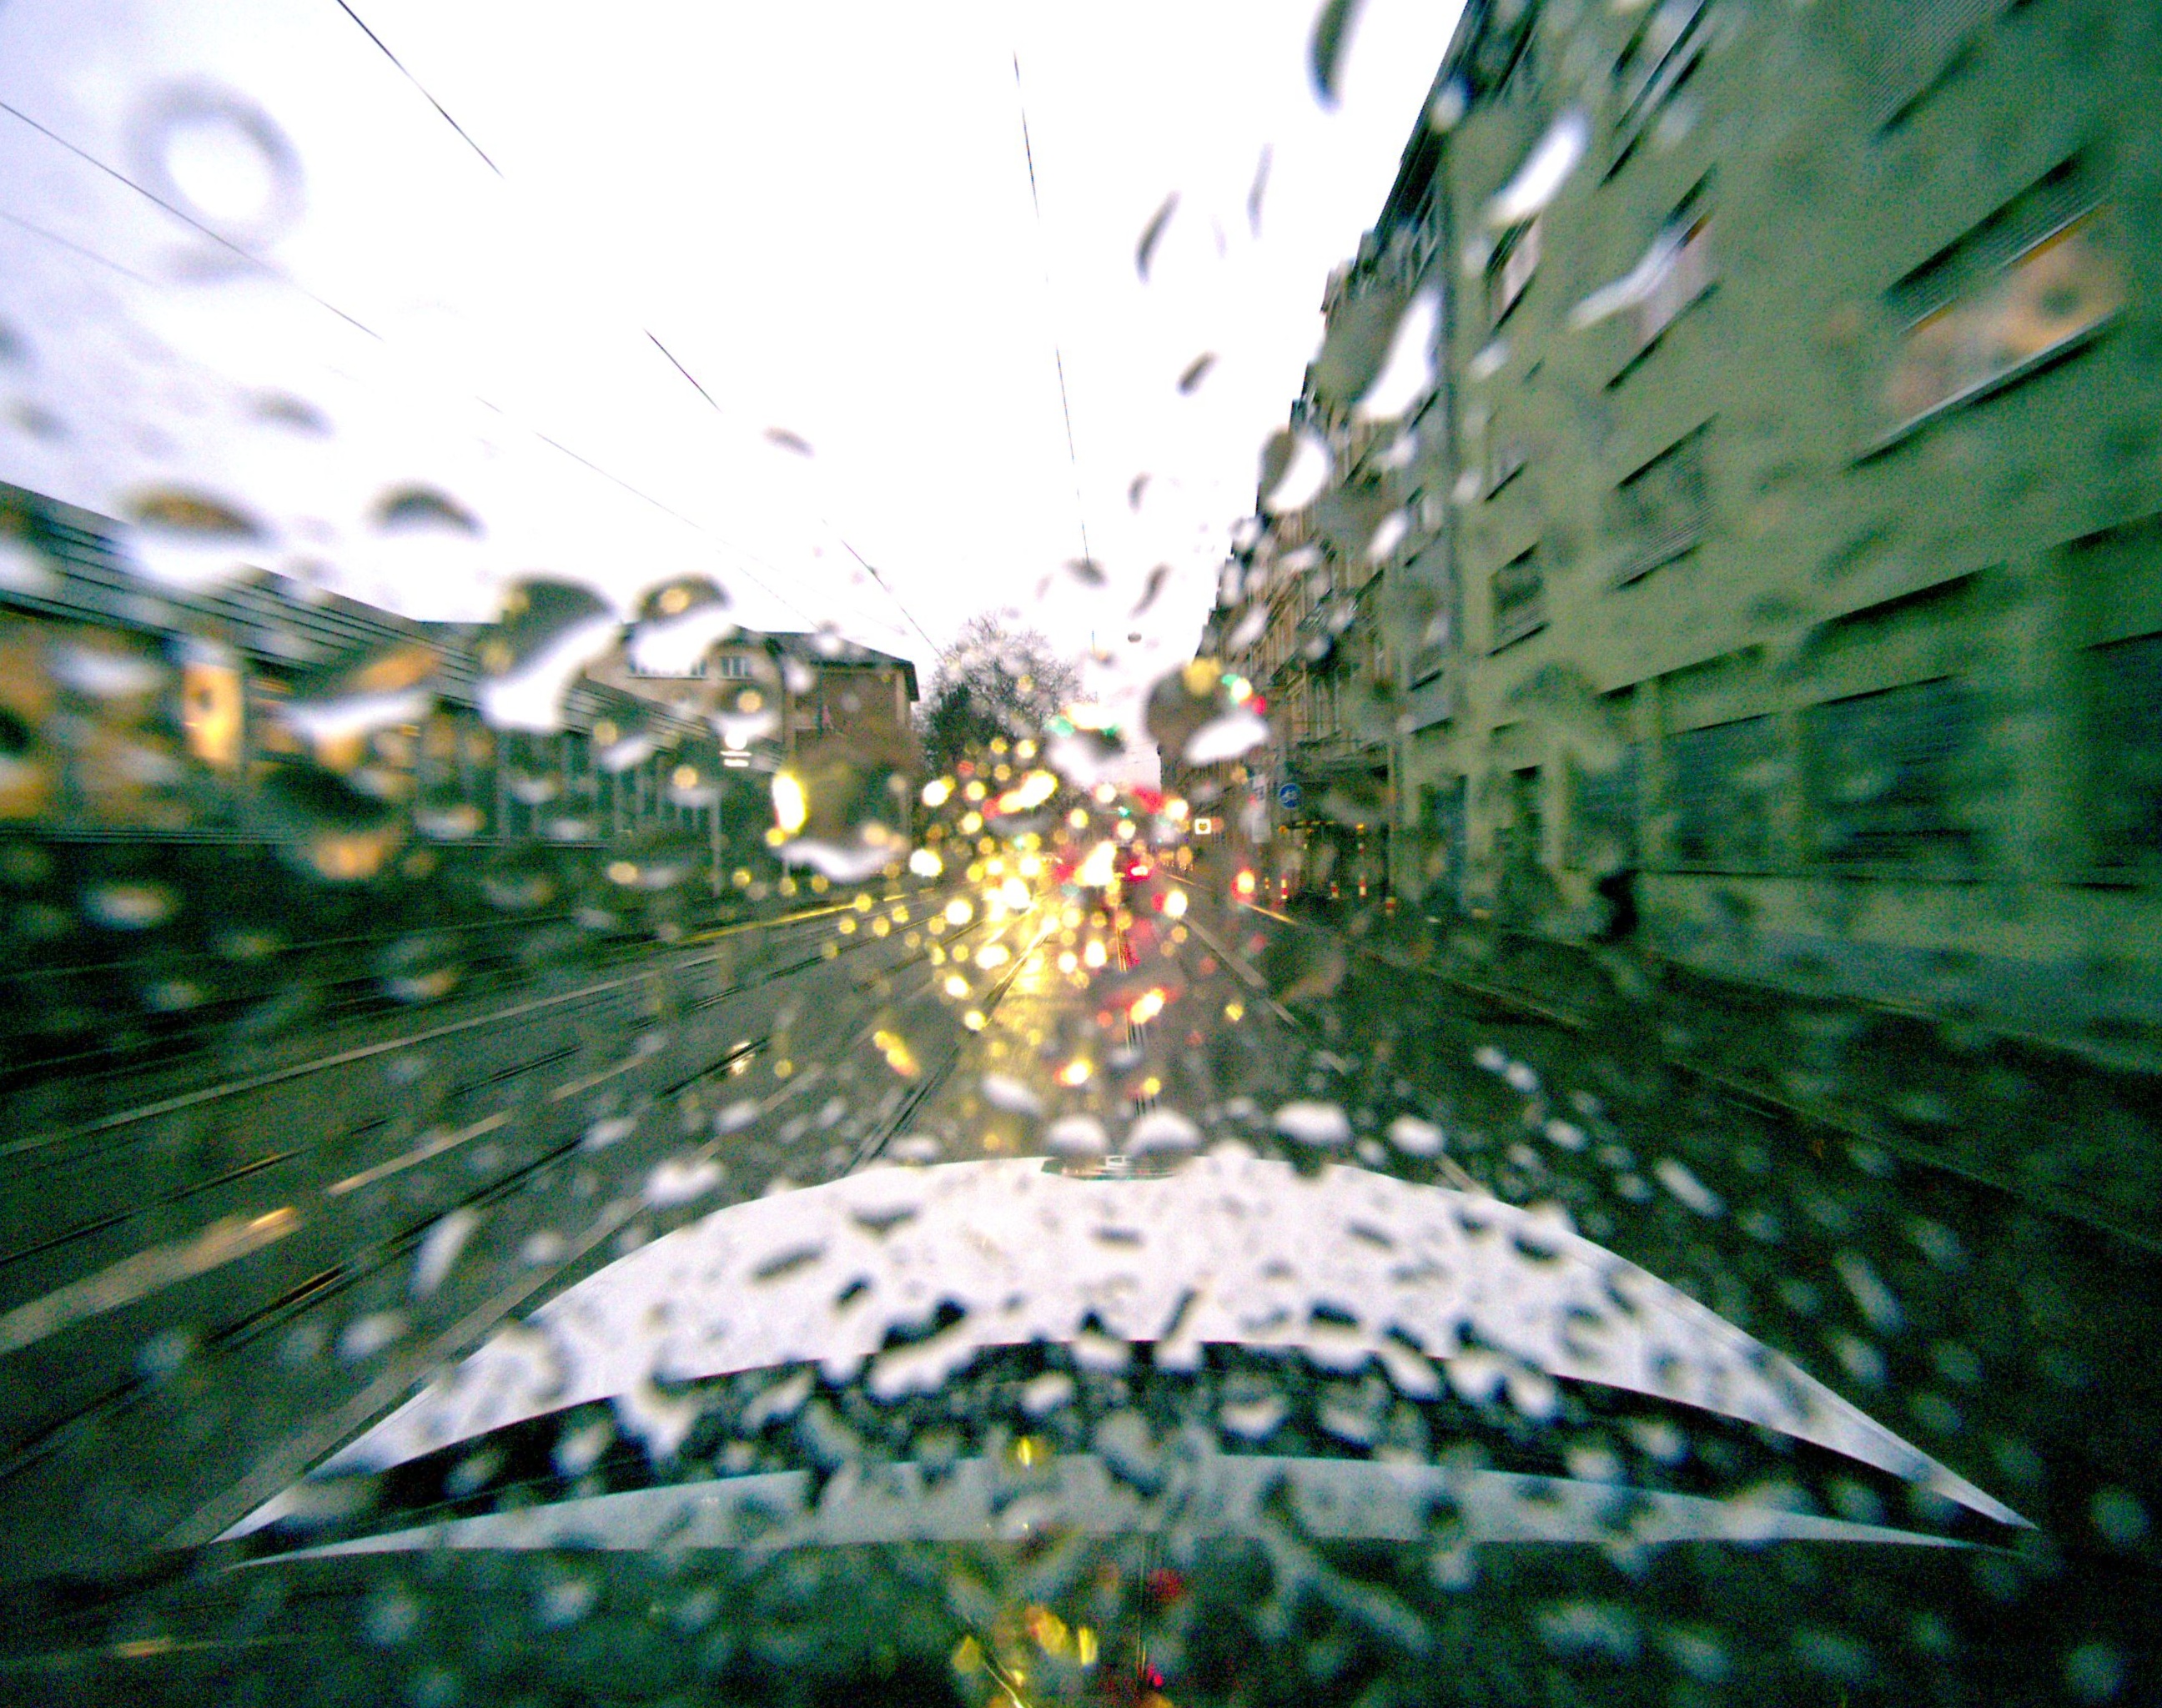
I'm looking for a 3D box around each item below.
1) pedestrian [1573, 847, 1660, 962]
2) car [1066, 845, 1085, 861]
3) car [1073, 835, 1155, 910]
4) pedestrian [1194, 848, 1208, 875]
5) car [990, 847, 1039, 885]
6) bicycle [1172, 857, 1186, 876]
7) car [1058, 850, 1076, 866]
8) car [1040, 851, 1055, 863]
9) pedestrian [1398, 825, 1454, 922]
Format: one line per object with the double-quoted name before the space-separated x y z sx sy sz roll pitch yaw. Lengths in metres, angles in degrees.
"pedestrian" 6.618 0.605 10.094 0.597 1.376 0.728 0 -1 1
"car" -0.737 -0.125 118.933 2.437 2.347 5.848 -2 0 2
"car" 0.979 0.455 22.090 1.984 1.842 4.005 -1 0 5
"pedestrian" 7.592 0.456 51.447 0.829 1.701 0.956 0 -1 10
"car" -3.181 0.539 39.858 1.868 1.709 4.762 -2 0 1
"bicycle" 5.893 0.739 49.112 0.681 1.156 2.189 0 0 2
"car" -1.346 0.407 79.983 1.524 1.481 3.563 -1 0 2
"car" -4.497 0.434 110.922 1.979 1.615 4.425 0 0 -2
"pedestrian" 6.638 0.365 15.685 0.601 1.818 0.769 0 -1 -26
